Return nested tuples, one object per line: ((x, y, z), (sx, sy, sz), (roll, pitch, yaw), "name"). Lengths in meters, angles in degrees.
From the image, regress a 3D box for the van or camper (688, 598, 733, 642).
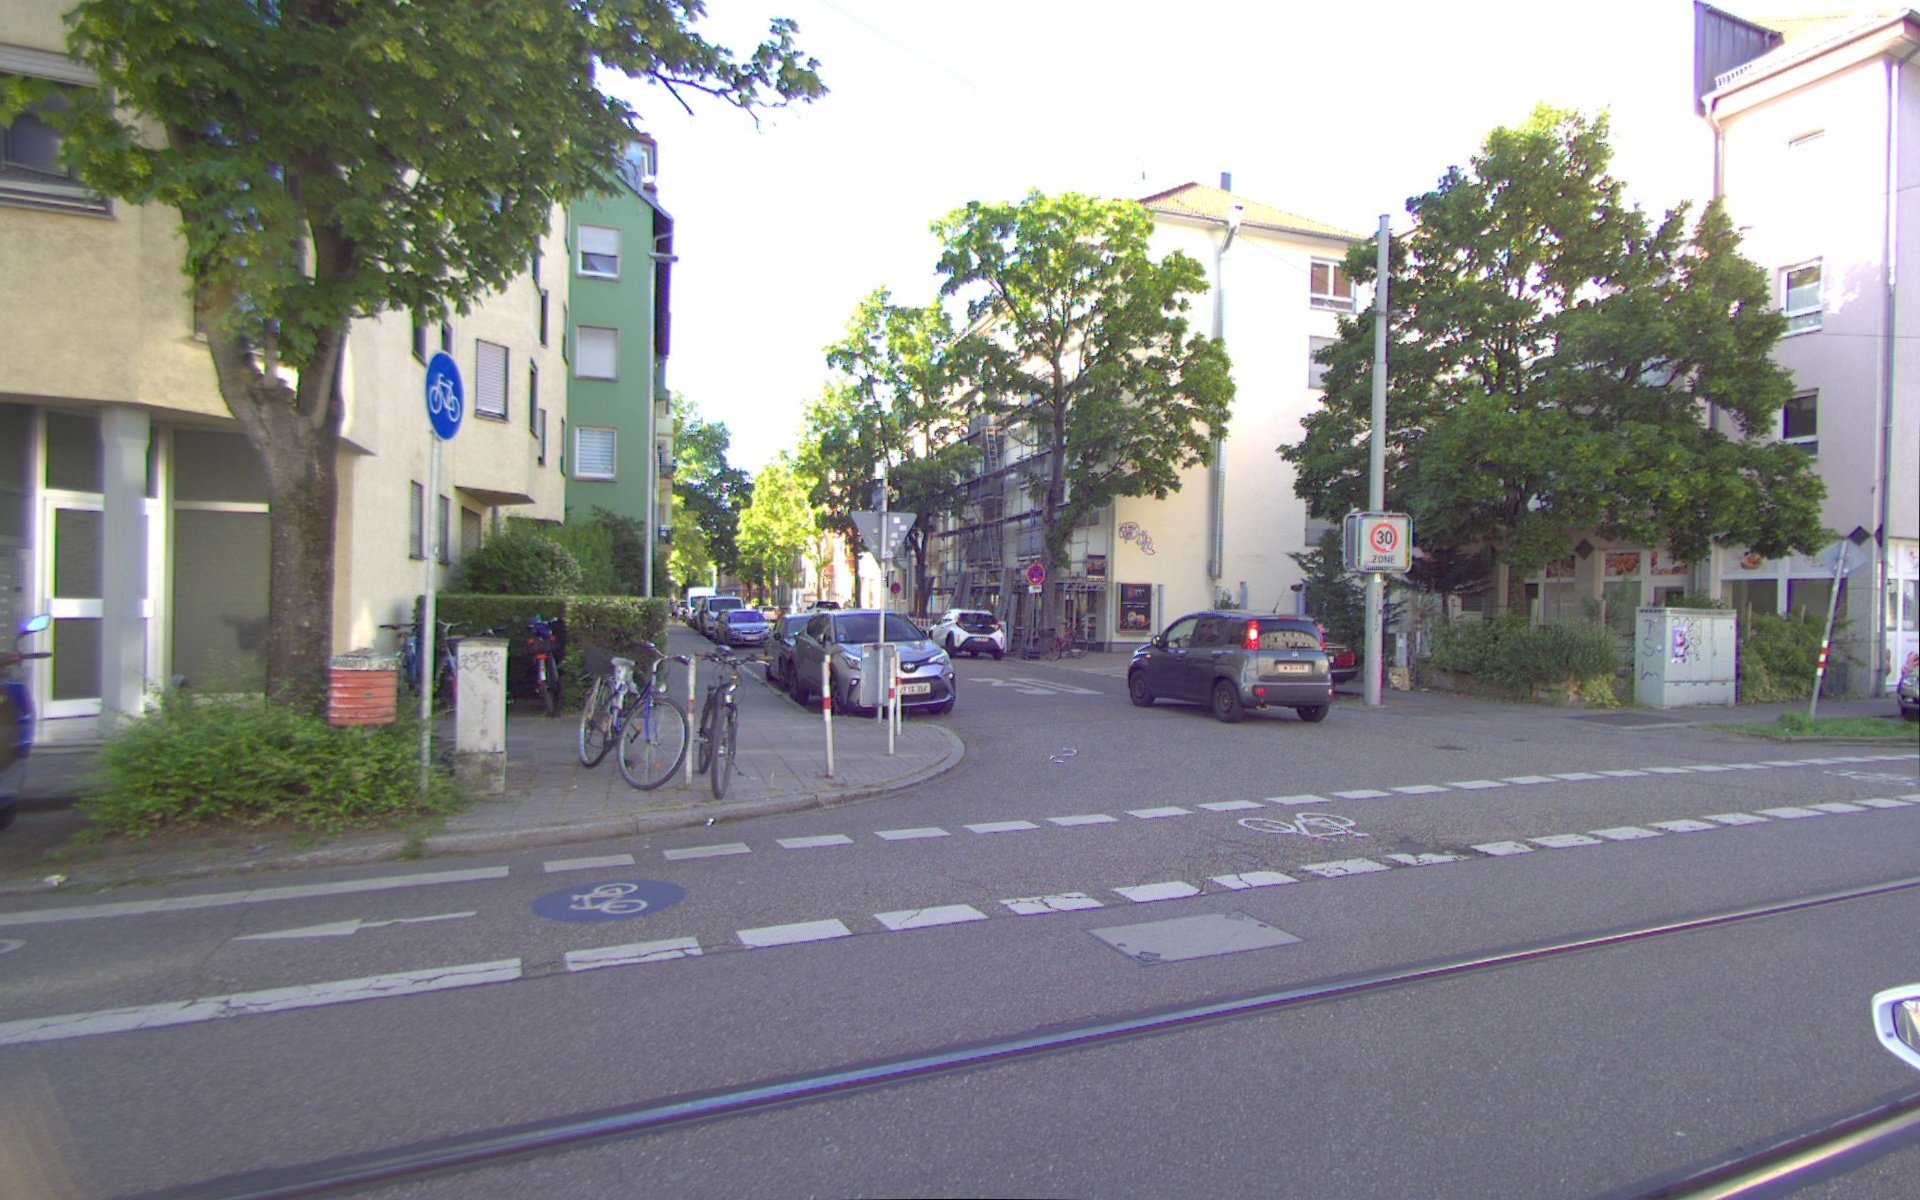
((-12.338, 0.945, 49.492), (1.967, 2.040, 4.894), (0, 0, -16), "van or camper")

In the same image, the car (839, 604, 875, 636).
((-6.141, 1.154, 59.704), (1.536, 1.749, 3.370), (4, -1, -15), "car")

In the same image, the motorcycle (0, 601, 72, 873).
((-5.687, 0.740, 5.595), (0.712, 1.466, 1.959), (1, 0, -30), "motorcycle")

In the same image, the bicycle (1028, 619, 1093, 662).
((3.063, 1.205, 30.515), (1.966, 1.181, 0.719), (-2, 1, -35), "bicycle")

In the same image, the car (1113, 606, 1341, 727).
((3.791, 0.916, 14.842), (1.538, 1.553, 3.470), (2, -2, -20), "car")

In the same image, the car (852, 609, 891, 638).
((-5.031, 1.303, 56.685), (1.536, 1.428, 3.370), (4, -1, -15), "car")

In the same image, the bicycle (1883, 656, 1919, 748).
((13.252, 1.297, 12.977), (2.195, 1.164, 0.840), (0, -4, -15), "bicycle")

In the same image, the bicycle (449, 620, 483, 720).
((-5.850, 0.796, 11.918), (0.328, 1.060, 1.384), (1, 1, -26), "bicycle")

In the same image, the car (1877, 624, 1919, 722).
((16.655, 1.180, 15.869), (3.945, 1.462, 1.739), (1, 2, -24), "car")

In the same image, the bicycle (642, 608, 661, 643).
((-11.188, 0.923, 36.441), (0.543, 1.193, 2.271), (4, -1, -16), "bicycle")

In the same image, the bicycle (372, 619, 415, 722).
((-6.525, 0.776, 11.587), (0.328, 1.060, 1.384), (1, 1, -26), "bicycle")

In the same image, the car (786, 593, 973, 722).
((-1.386, 0.782, 15.488), (1.880, 1.682, 3.982), (-1, 0, -20), "car")

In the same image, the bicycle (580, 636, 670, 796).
((-2.756, 0.867, 8.164), (0.587, 1.099, 1.802), (1, -1, -22), "bicycle")

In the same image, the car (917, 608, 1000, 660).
((-0.105, 1.053, 32.140), (1.654, 1.565, 3.389), (1, -1, -19), "car")

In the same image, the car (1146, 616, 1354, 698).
((5.620, 1.063, 20.126), (1.687, 1.406, 4.551), (2, -1, -19), "car")

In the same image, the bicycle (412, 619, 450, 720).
((-6.210, 0.785, 11.811), (0.328, 1.060, 1.384), (1, 1, -26), "bicycle")

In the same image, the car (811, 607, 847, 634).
((-8.717, 1.337, 66.689), (1.665, 1.706, 3.984), (0, 0, -18), "car")

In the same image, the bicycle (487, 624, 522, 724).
((-5.461, 0.855, 12.023), (0.328, 1.060, 1.384), (1, 1, -26), "bicycle")

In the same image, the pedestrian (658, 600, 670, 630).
((-19.012, 0.963, 64.468), (0.676, 1.944, 0.614), (1, 0, -22), "pedestrian")

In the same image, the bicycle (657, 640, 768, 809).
((-1.972, 0.890, 7.842), (0.586, 1.099, 1.873), (1, -1, -22), "bicycle")

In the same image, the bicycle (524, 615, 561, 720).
((-5.102, 0.784, 12.249), (0.328, 1.159, 1.384), (1, 1, -26), "bicycle")

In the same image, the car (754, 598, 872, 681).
((-3.161, 0.747, 20.953), (1.730, 1.517, 4.118), (-1, 0, -18), "car")
